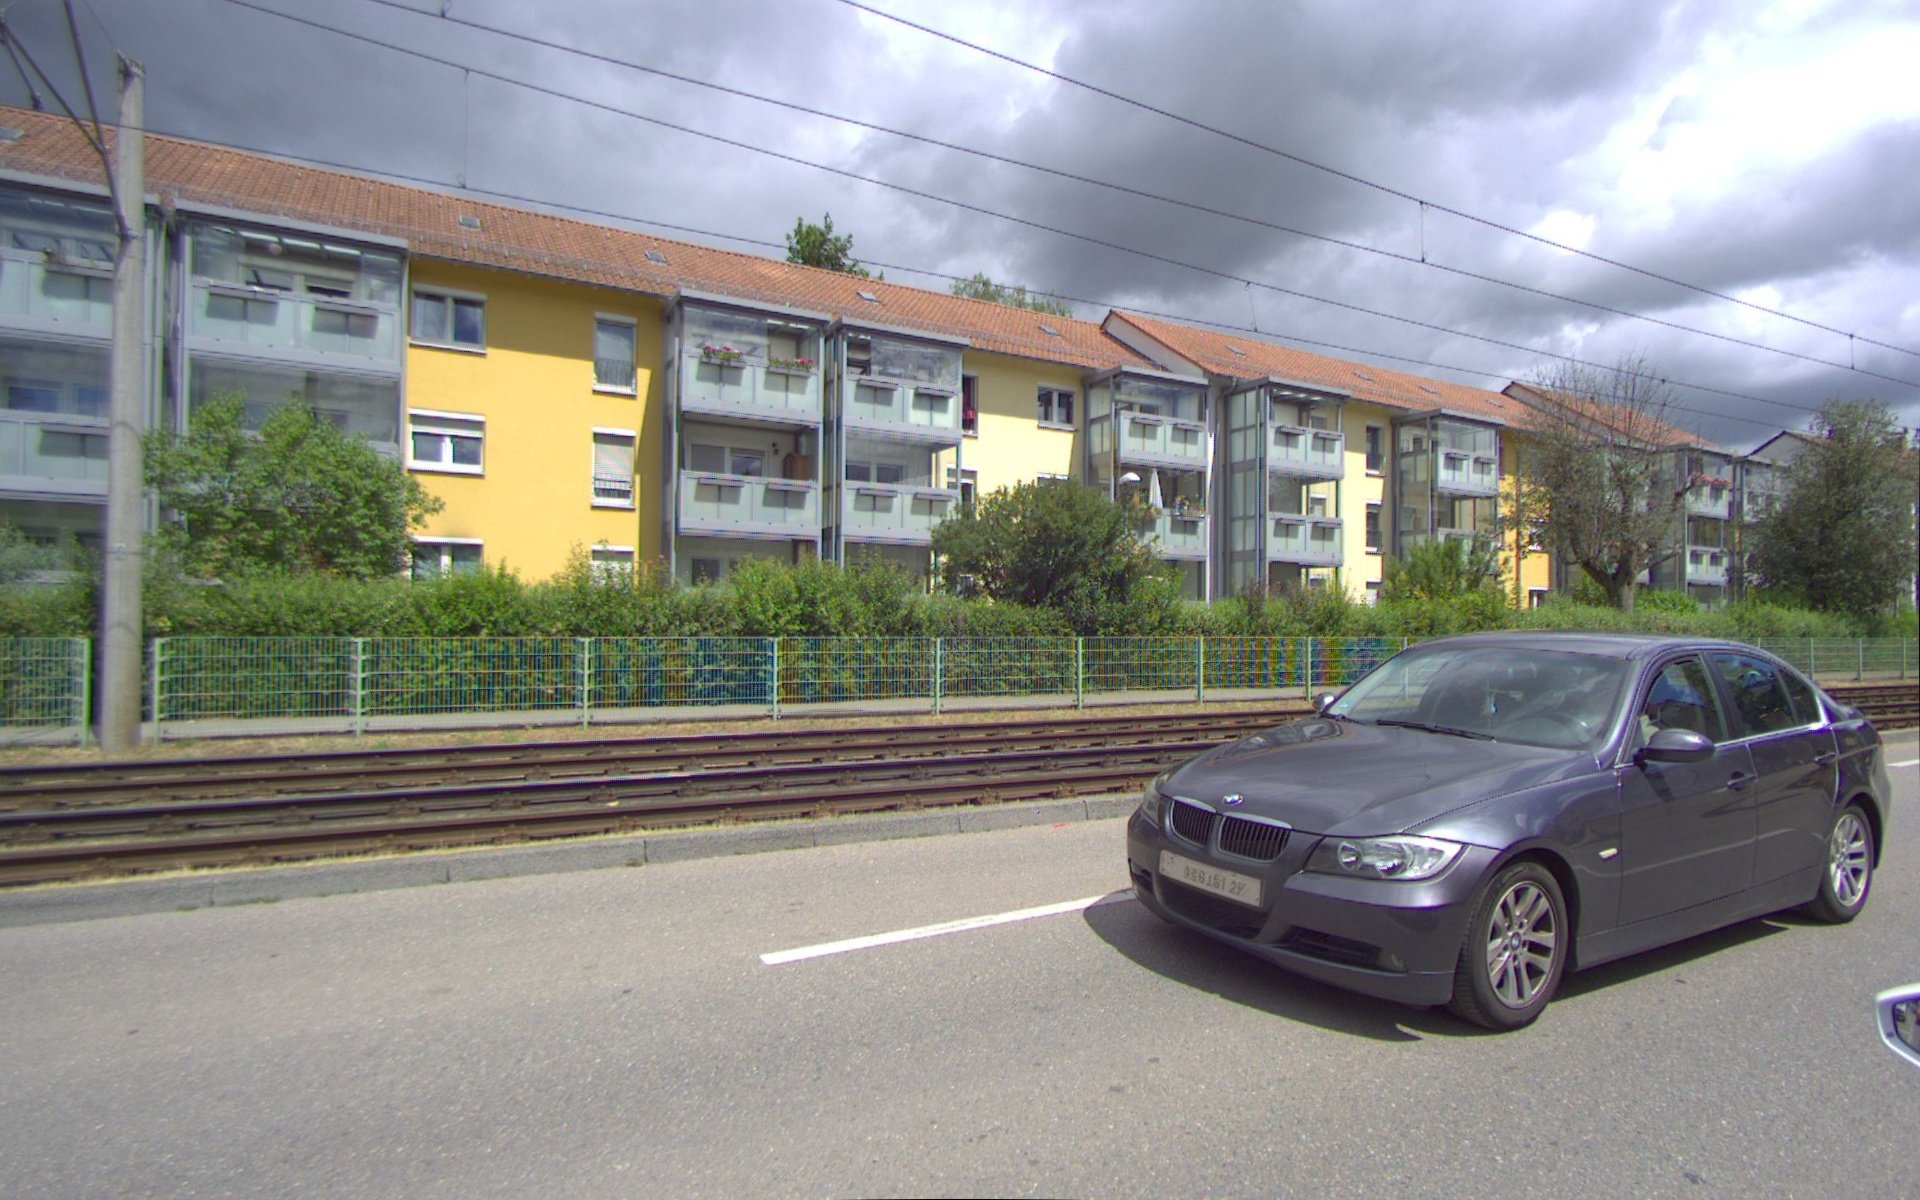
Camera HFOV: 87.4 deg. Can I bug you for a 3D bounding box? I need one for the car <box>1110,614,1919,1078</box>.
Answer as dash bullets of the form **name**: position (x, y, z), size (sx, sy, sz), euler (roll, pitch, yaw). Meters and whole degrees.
- **car**: position (2.875, 0.826, 4.937), size (4.117, 1.451, 1.621), euler (1, 0, -30)
